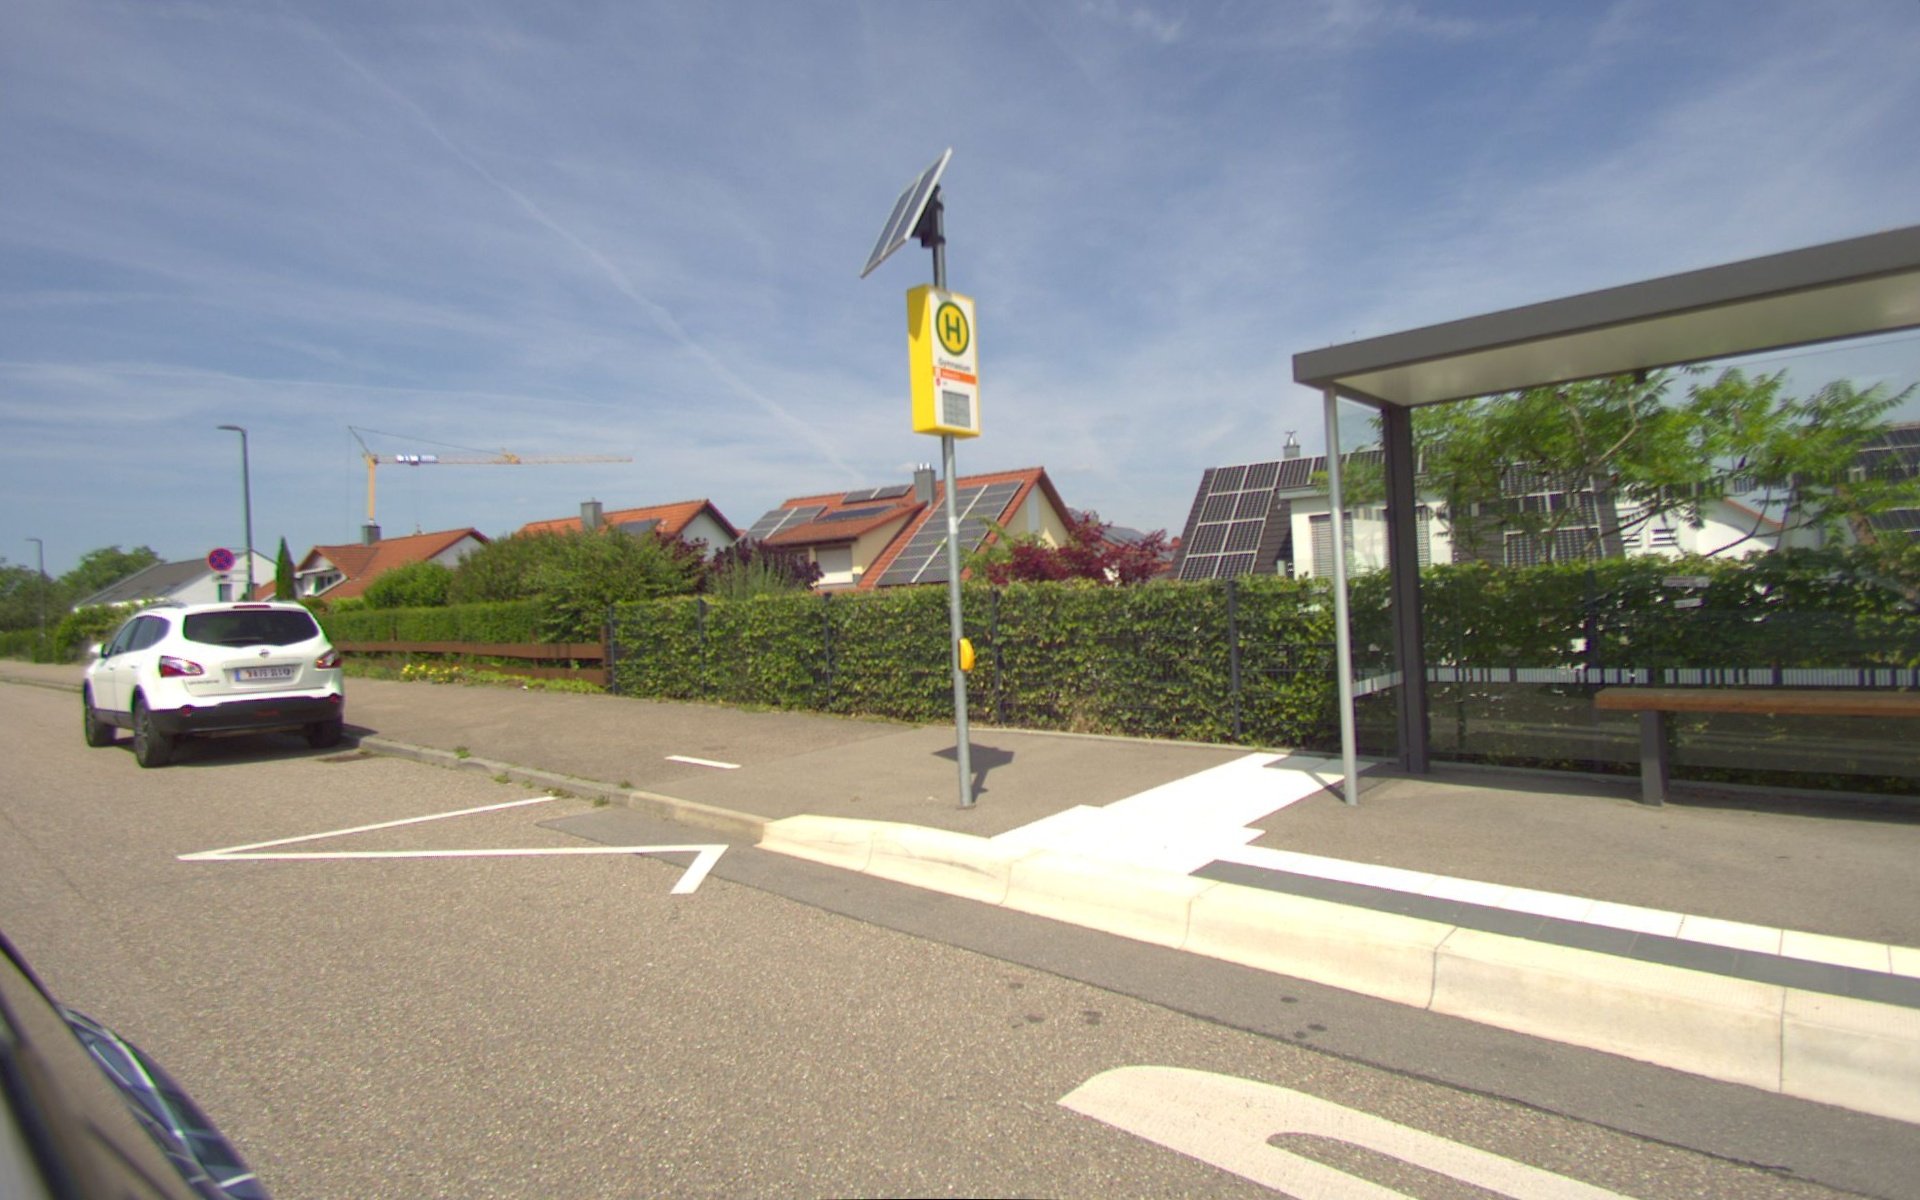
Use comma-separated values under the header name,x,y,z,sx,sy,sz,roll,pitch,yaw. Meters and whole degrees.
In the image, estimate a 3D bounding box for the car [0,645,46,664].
name,x,y,z,sx,sy,sz,roll,pitch,yaw
car,-75.259,4.340,80.447,3.832,1.331,1.802,-3,-1,-44

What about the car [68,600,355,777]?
name,x,y,z,sx,sy,sz,roll,pitch,yaw
car,-8.662,0.881,11.565,4.350,1.645,1.716,-2,-1,41

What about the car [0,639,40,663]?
name,x,y,z,sx,sy,sz,roll,pitch,yaw
car,-81.306,4.415,86.515,3.832,1.826,1.802,-3,0,-44
